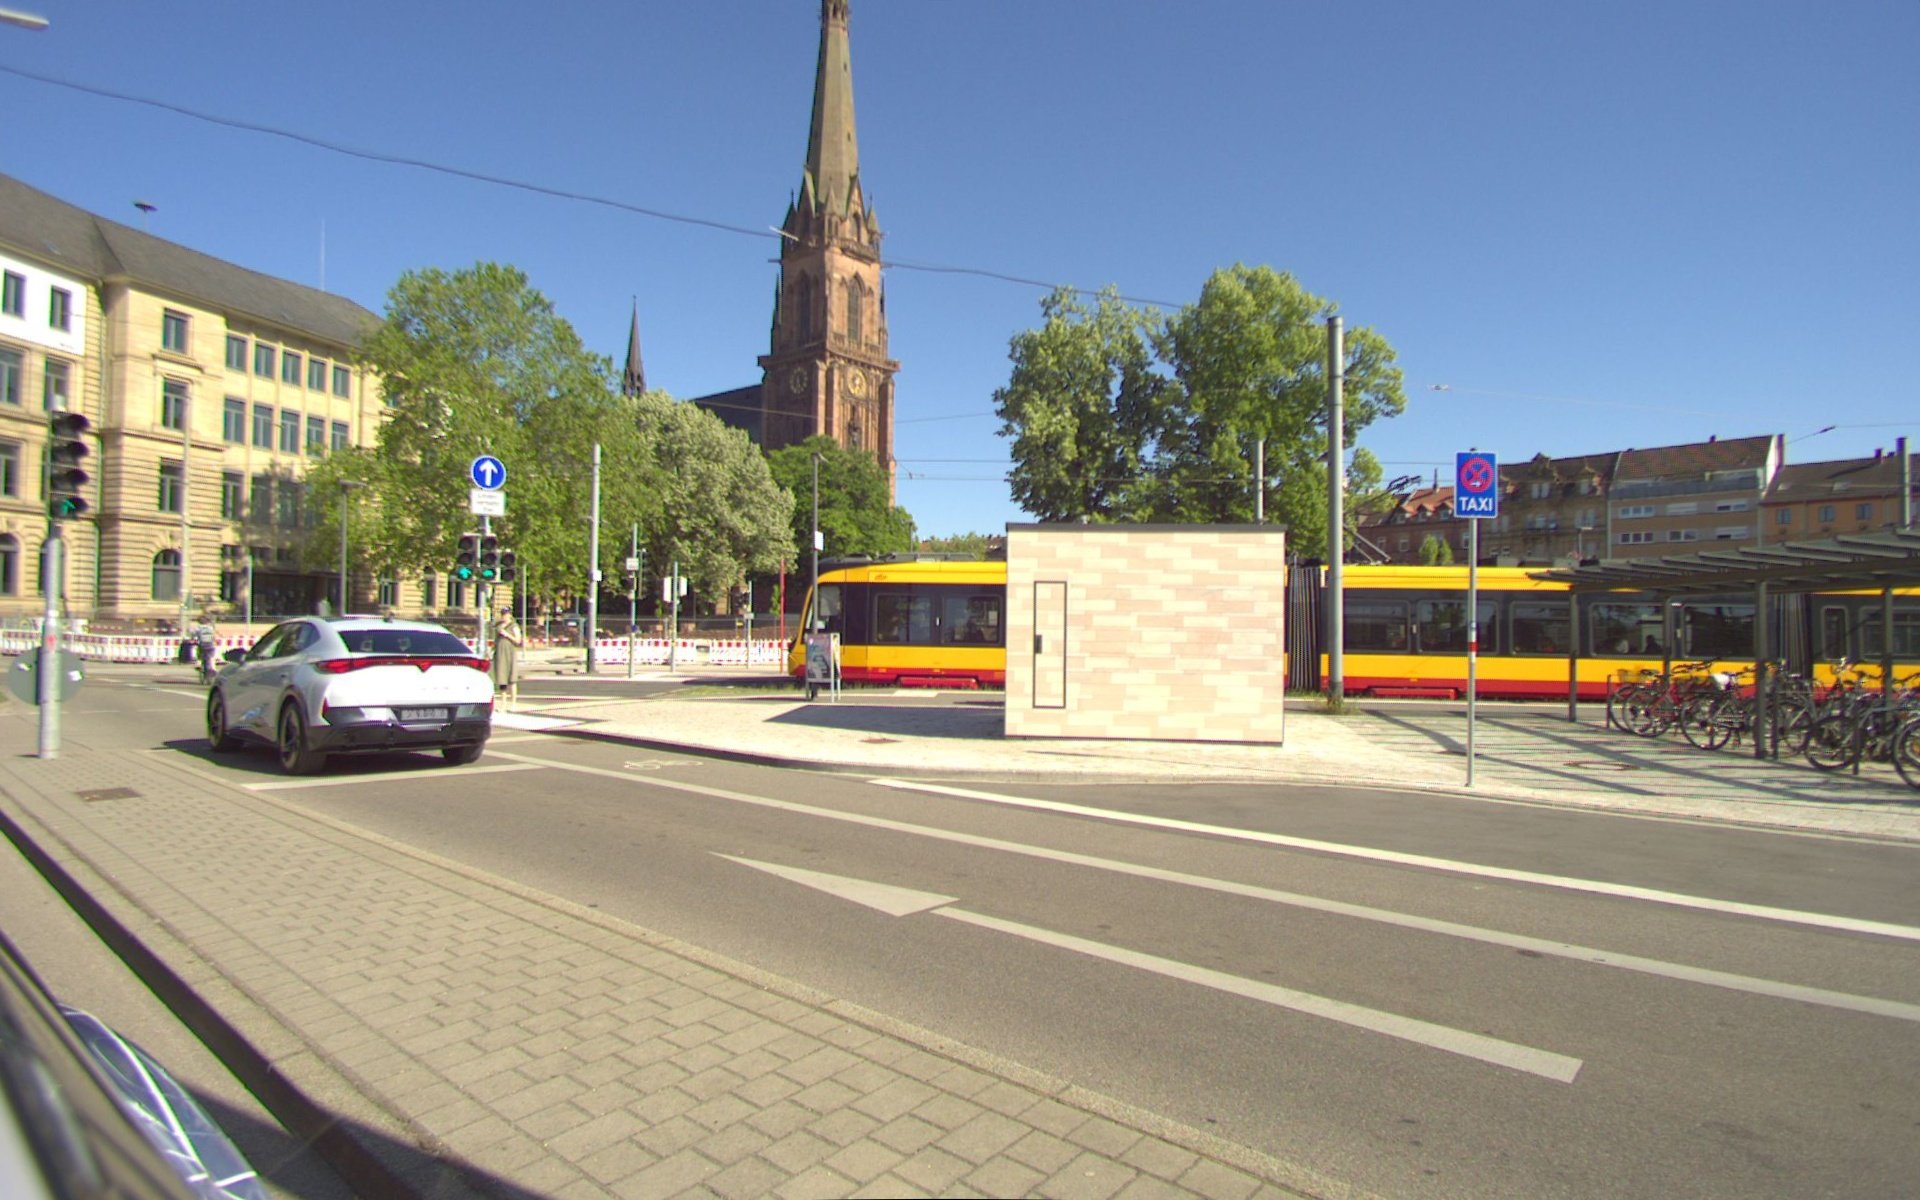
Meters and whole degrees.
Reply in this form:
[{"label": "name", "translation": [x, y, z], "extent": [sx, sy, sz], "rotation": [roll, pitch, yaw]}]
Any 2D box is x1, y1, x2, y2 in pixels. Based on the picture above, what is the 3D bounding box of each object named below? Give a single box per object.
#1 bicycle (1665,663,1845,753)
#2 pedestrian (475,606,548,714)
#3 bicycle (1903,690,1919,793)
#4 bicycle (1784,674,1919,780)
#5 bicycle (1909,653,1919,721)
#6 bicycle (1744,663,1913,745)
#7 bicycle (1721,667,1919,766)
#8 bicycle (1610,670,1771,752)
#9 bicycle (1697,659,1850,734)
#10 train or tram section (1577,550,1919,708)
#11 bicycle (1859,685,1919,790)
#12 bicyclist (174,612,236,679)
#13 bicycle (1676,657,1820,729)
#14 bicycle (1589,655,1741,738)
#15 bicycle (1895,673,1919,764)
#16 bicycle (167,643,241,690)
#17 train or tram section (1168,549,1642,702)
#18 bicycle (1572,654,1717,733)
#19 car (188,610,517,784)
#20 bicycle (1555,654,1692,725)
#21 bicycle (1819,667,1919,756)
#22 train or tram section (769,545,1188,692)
[{"label": "bicycle", "translation": [10.446, 1.407, 13.344], "extent": [1.795, 1.066, 0.581], "rotation": [1, 0, 9]}, {"label": "pedestrian", "translation": [-7.997, 1.061, 18.070], "extent": [0.760, 1.864, 0.894], "rotation": [-3, -2, 26]}, {"label": "bicycle", "translation": [10.155, 1.383, 9.396], "extent": [2.036, 0.968, 0.580], "rotation": [1, 0, 11]}, {"label": "bicycle", "translation": [10.243, 1.392, 11.092], "extent": [1.797, 1.066, 0.580], "rotation": [1, 0, 11]}, {"label": "bicycle", "translation": [16.690, 1.453, 16.293], "extent": [2.036, 1.096, 0.580], "rotation": [1, 0, 11]}, {"label": "bicycle", "translation": [12.495, 1.484, 14.606], "extent": [1.795, 1.066, 0.581], "rotation": [1, 0, 9]}, {"label": "bicycle", "translation": [10.460, 1.403, 12.341], "extent": [1.795, 1.066, 0.581], "rotation": [1, 0, 9]}, {"label": "bicycle", "translation": [10.523, 1.586, 14.623], "extent": [1.795, 1.066, 0.581], "rotation": [1, 0, 9]}, {"label": "bicycle", "translation": [12.723, 1.495, 15.864], "extent": [1.795, 1.066, 0.581], "rotation": [1, 0, 9]}, {"label": "train or tram section", "translation": [21.394, 0.671, 24.261], "extent": [11.072, 3.534, 2.820], "rotation": [0, -1, 6]}, {"label": "bicycle", "translation": [10.268, 1.389, 10.004], "extent": [2.036, 0.968, 0.580], "rotation": [1, 0, 11]}, {"label": "bicyclist", "translation": [-19.110, 1.143, 25.625], "extent": [1.056, 1.657, 0.873], "rotation": [0, -2, 30]}, {"label": "bicycle", "translation": [12.809, 1.500, 16.488], "extent": [1.795, 1.066, 0.554], "rotation": [1, 0, 9]}, {"label": "bicycle", "translation": [10.657, 1.451, 15.352], "extent": [1.795, 1.140, 0.581], "rotation": [1, 0, 9]}, {"label": "bicycle", "translation": [12.361, 1.447, 12.022], "extent": [1.795, 1.066, 0.581], "rotation": [1, 0, 9]}, {"label": "bicycle", "translation": [-19.127, 1.658, 25.593], "extent": [2.028, 1.089, 0.767], "rotation": [0, -2, 31]}, {"label": "train or tram section", "translation": [10.732, 0.579, 25.431], "extent": [10.480, 3.534, 2.821], "rotation": [0, -1, 6]}, {"label": "bicycle", "translation": [10.825, 1.464, 16.044], "extent": [1.795, 1.129, 0.581], "rotation": [1, 0, 9]}, {"label": "car", "translation": [-6.865, 0.971, 11.266], "extent": [4.246, 1.580, 1.799], "rotation": [-1, -4, 40]}, {"label": "bicycle", "translation": [10.964, 1.472, 16.758], "extent": [1.795, 1.066, 0.581], "rotation": [1, 0, 9]}, {"label": "bicycle", "translation": [12.319, 1.450, 13.077], "extent": [1.795, 1.066, 0.581], "rotation": [1, 0, 9]}, {"label": "train or tram section", "translation": [0.477, 0.459, 26.457], "extent": [10.346, 3.535, 2.822], "rotation": [0, -2, 5]}]
